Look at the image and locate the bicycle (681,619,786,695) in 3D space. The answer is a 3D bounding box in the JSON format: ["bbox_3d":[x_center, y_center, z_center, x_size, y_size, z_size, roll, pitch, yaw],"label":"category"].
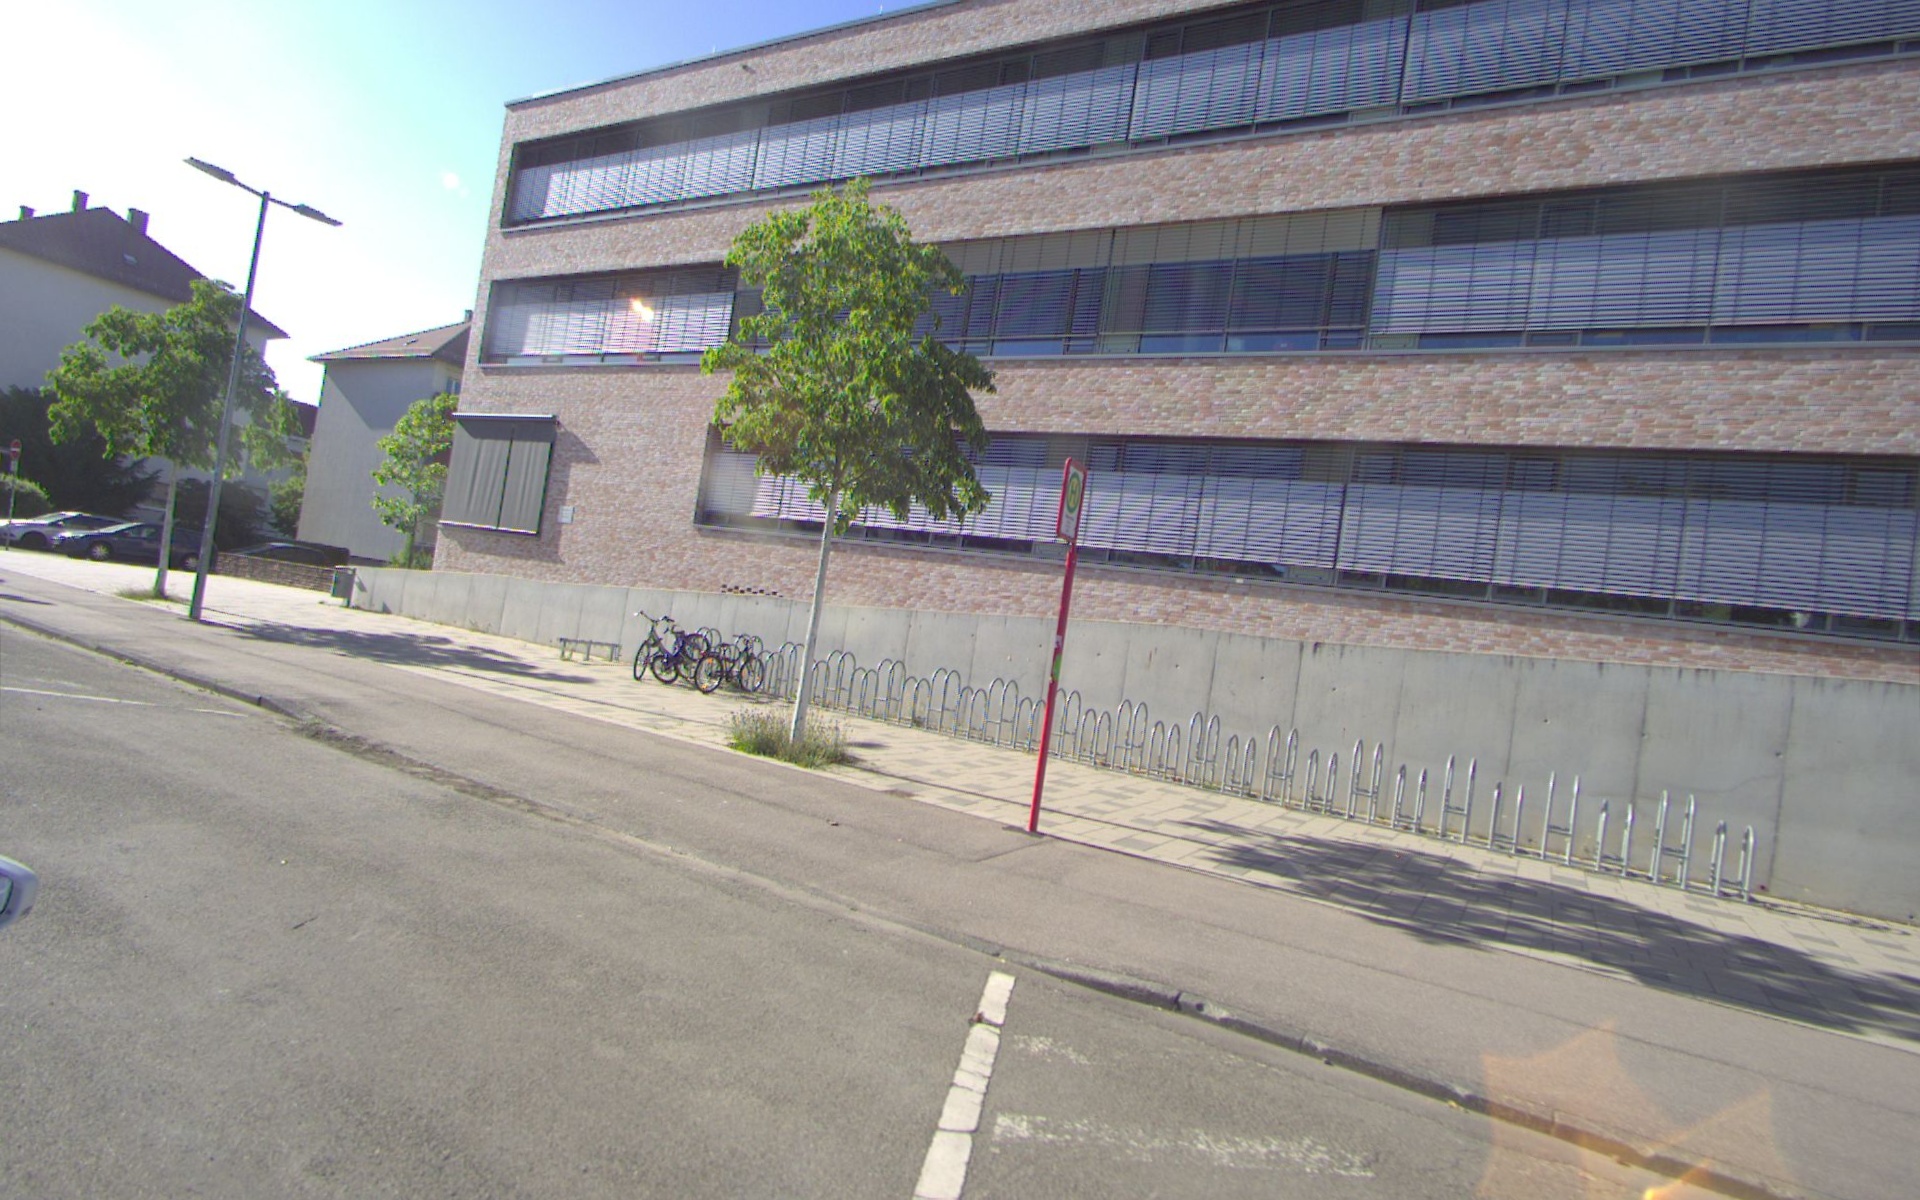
[{"bbox_3d":[-3.657,0.952,16.414,0.491,1.121,1.798,7,0,29],"label":"bicycle"}]

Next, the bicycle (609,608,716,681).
[{"bbox_3d":[-4.992,0.776,16.984,0.491,1.121,1.798,7,0,29],"label":"bicycle"}]

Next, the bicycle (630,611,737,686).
[{"bbox_3d":[-4.557,0.830,16.721,0.491,1.121,1.798,7,0,29],"label":"bicycle"}]

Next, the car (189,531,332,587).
[{"bbox_3d":[-29.231,-1.688,42.182,1.769,1.557,4.494,5,-4,29],"label":"car"}]

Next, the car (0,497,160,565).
[{"bbox_3d":[-32.393,-2.490,36.767,1.769,1.640,4.494,5,-4,29],"label":"car"}]
